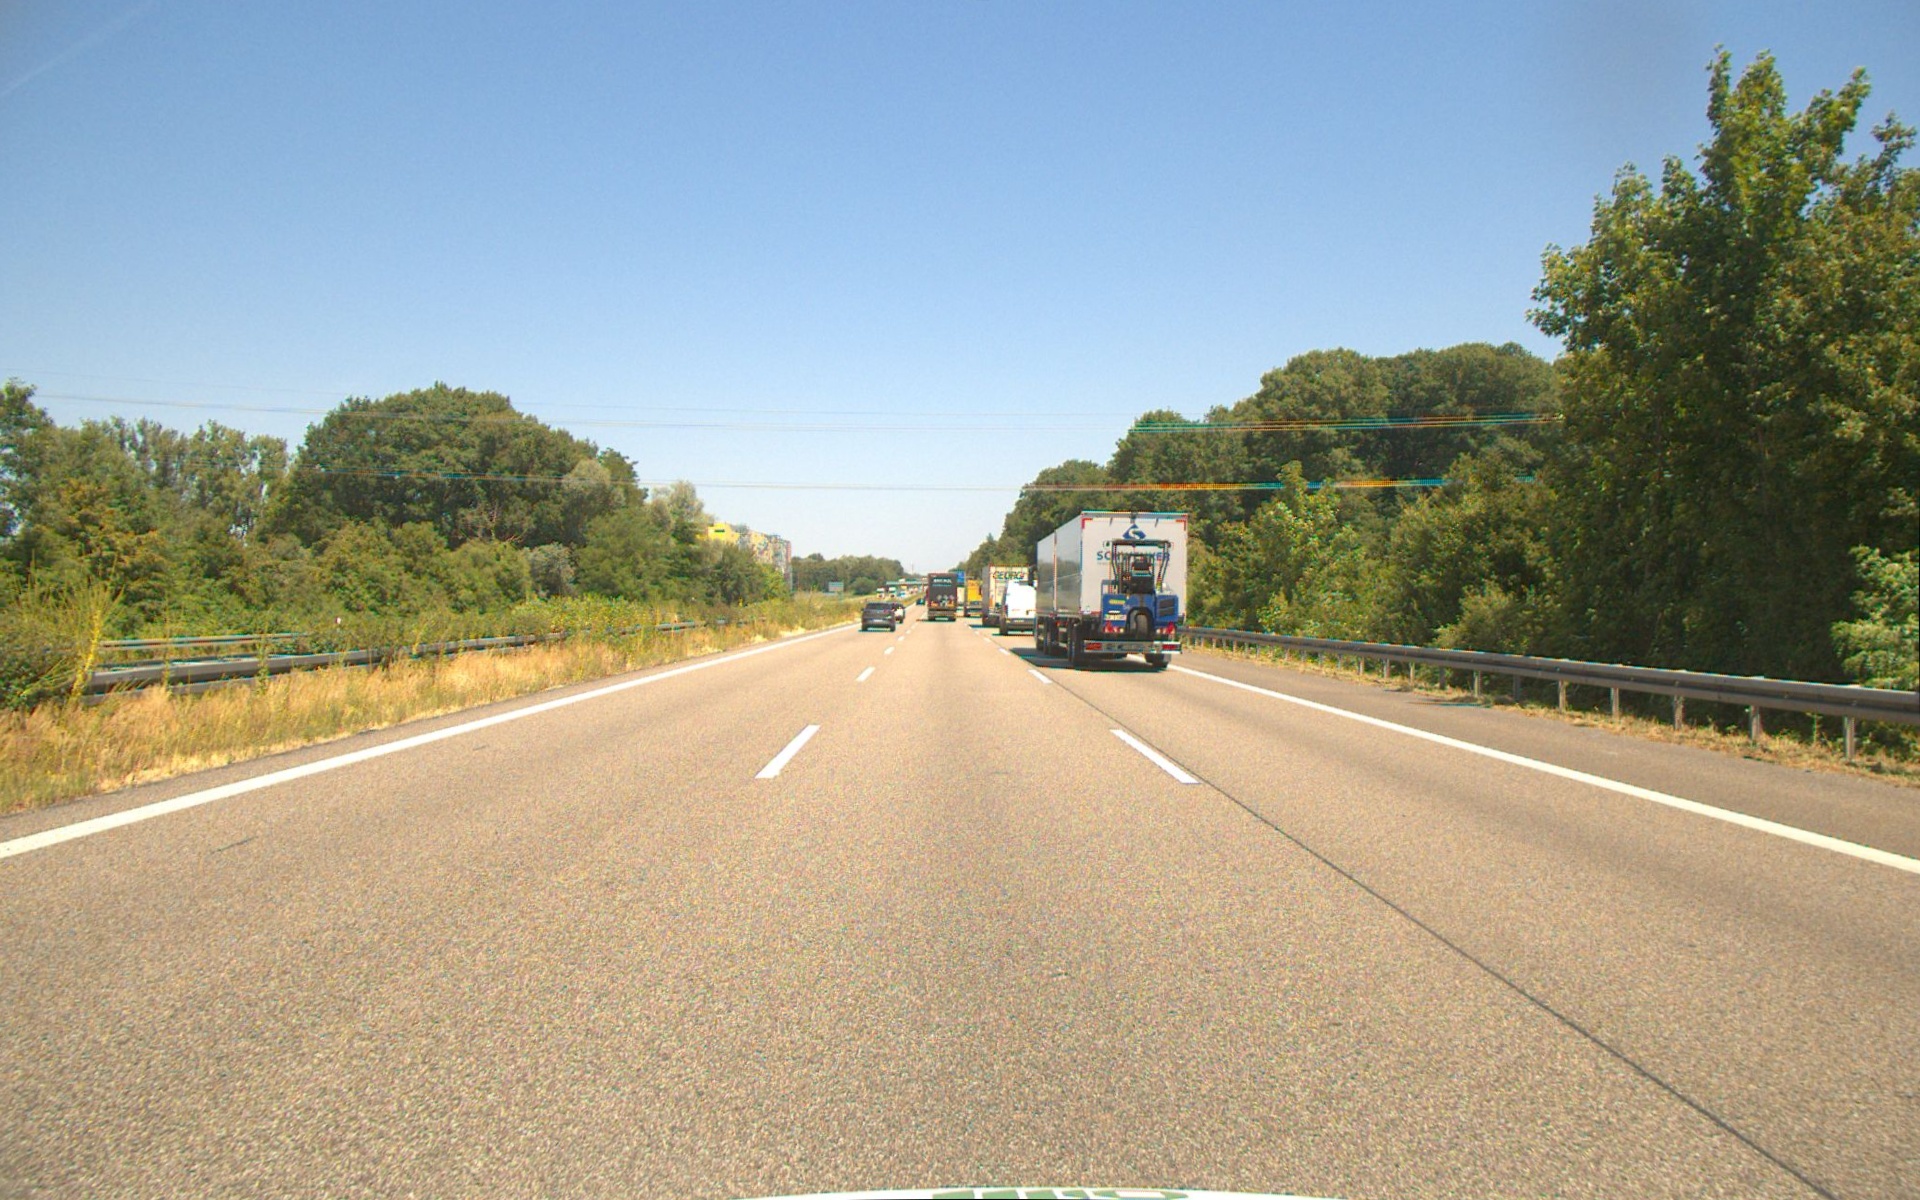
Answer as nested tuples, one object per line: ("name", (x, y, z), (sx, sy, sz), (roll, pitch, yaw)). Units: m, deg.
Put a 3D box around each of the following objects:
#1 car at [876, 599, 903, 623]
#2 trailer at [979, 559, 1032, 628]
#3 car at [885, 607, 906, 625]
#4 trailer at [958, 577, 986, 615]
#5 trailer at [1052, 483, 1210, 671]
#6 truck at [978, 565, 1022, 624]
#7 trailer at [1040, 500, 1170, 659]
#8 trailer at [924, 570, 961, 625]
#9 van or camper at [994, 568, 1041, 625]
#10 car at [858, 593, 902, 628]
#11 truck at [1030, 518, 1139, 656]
("car", (-5.349, 0.836, 125.882), (1.953, 1.758, 4.129), (0, 0, -2))
("trailer", (2.980, -0.443, 112.541), (2.933, 4.364, 13.415), (1, 0, -1))
("car", (-6.128, 1.524, 157.414), (1.902, 1.736, 3.999), (0, 0, -1))
("trailer", (1.255, -0.429, 182.065), (2.777, 4.023, 11.681), (0, 0, -1))
("trailer", (4.038, -0.504, 40.864), (2.885, 4.134, 8.126), (1, 0, -1))
("truck", (2.847, -0.392, 120.063), (2.941, 4.197, 5.251), (0, 0, -1))
("trailer", (3.977, -0.515, 46.882), (2.860, 4.112, 7.315), (1, 0, -1))
("trailer", (-1.659, -0.212, 146.317), (3.043, 4.585, 14.891), (1, 0, -1))
("van or camper", (2.808, -0.179, 82.371), (1.981, 2.683, 6.485), (1, 0, -1))
("car", (-4.271, 0.538, 88.953), (2.171, 1.821, 5.392), (0, 0, -1))
("truck", (3.871, -0.374, 52.881), (2.830, 4.101, 6.868), (1, 0, -1))
